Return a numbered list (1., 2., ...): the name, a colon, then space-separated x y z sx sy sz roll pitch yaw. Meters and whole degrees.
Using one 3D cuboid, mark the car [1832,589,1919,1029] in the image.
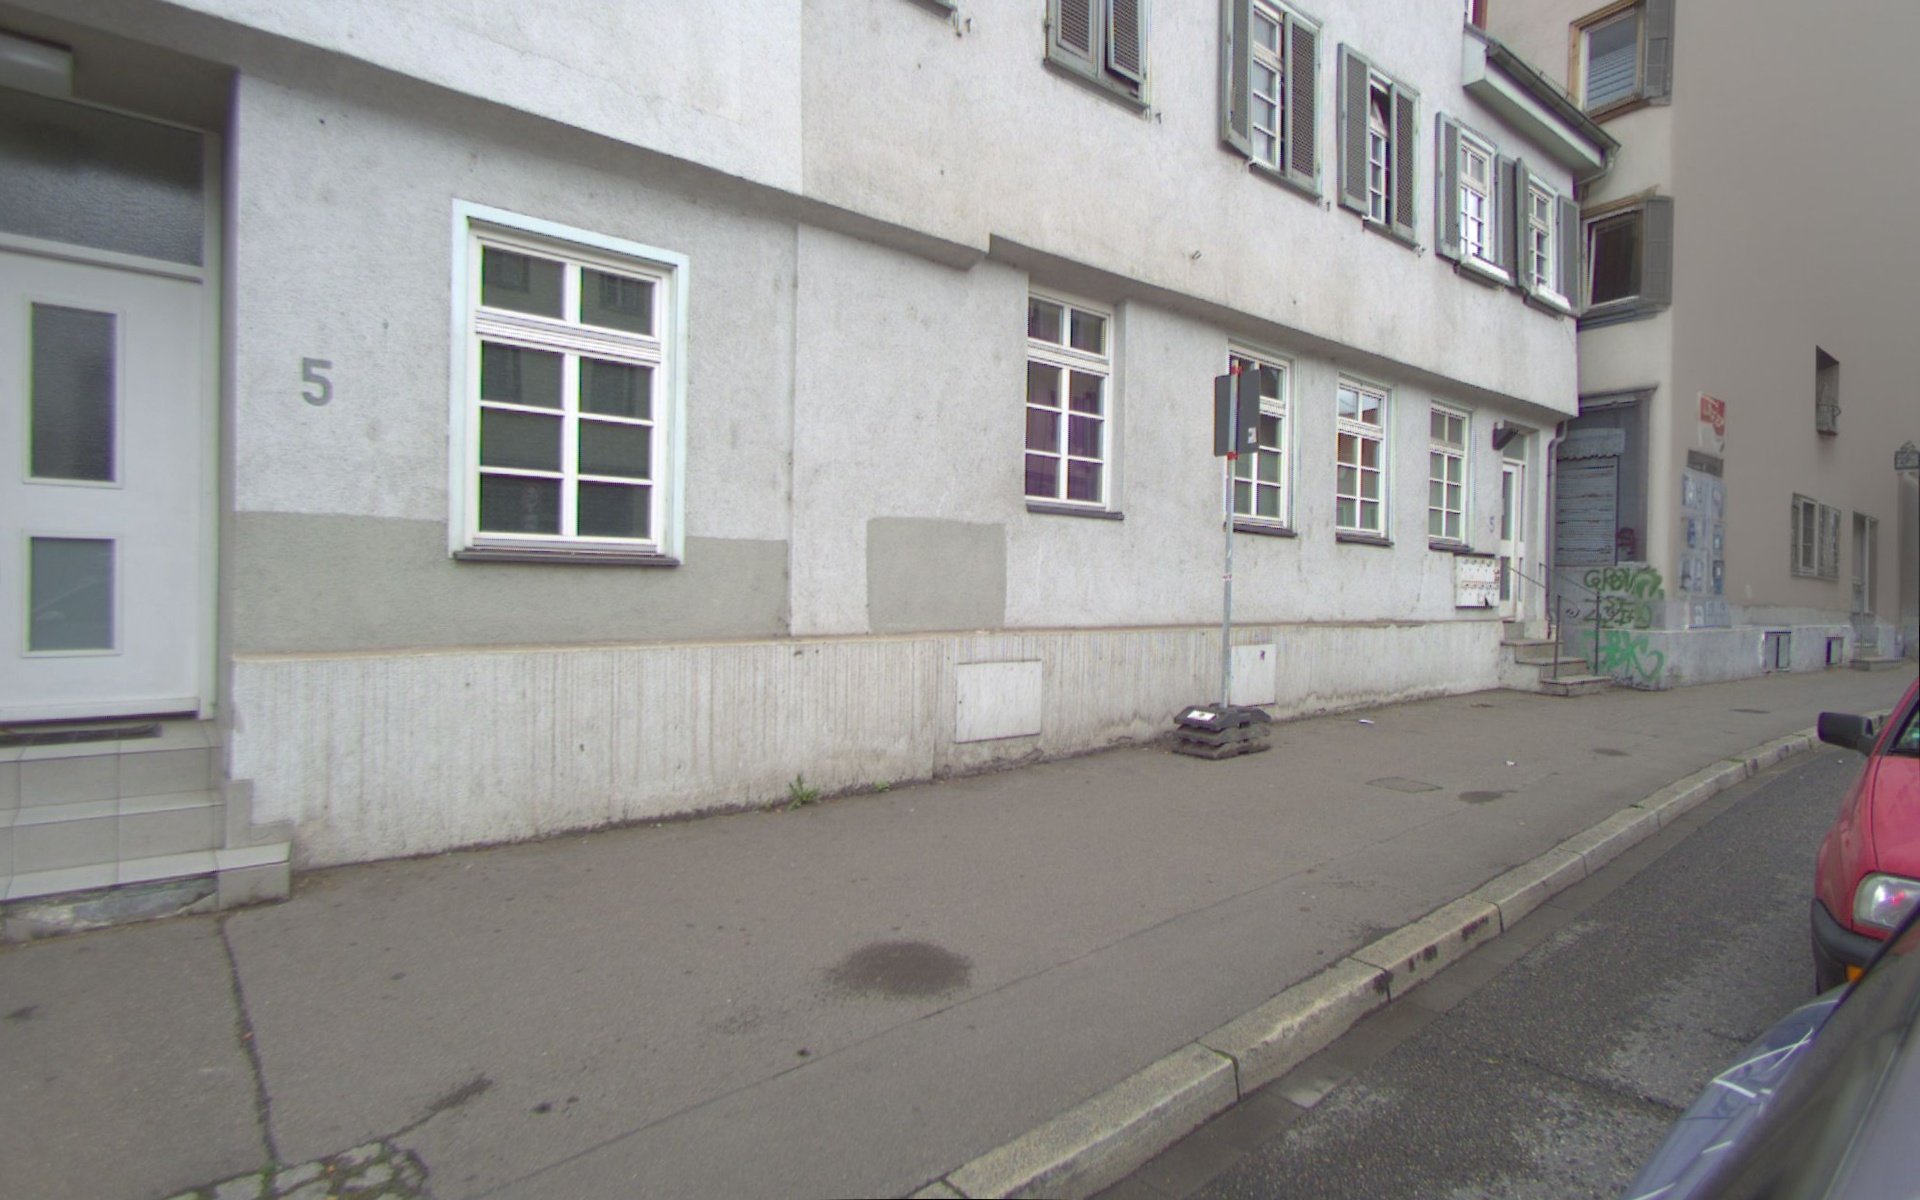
1. car: 5.056 0.704 4.141 3.950 1.445 1.684 0 1 -41
